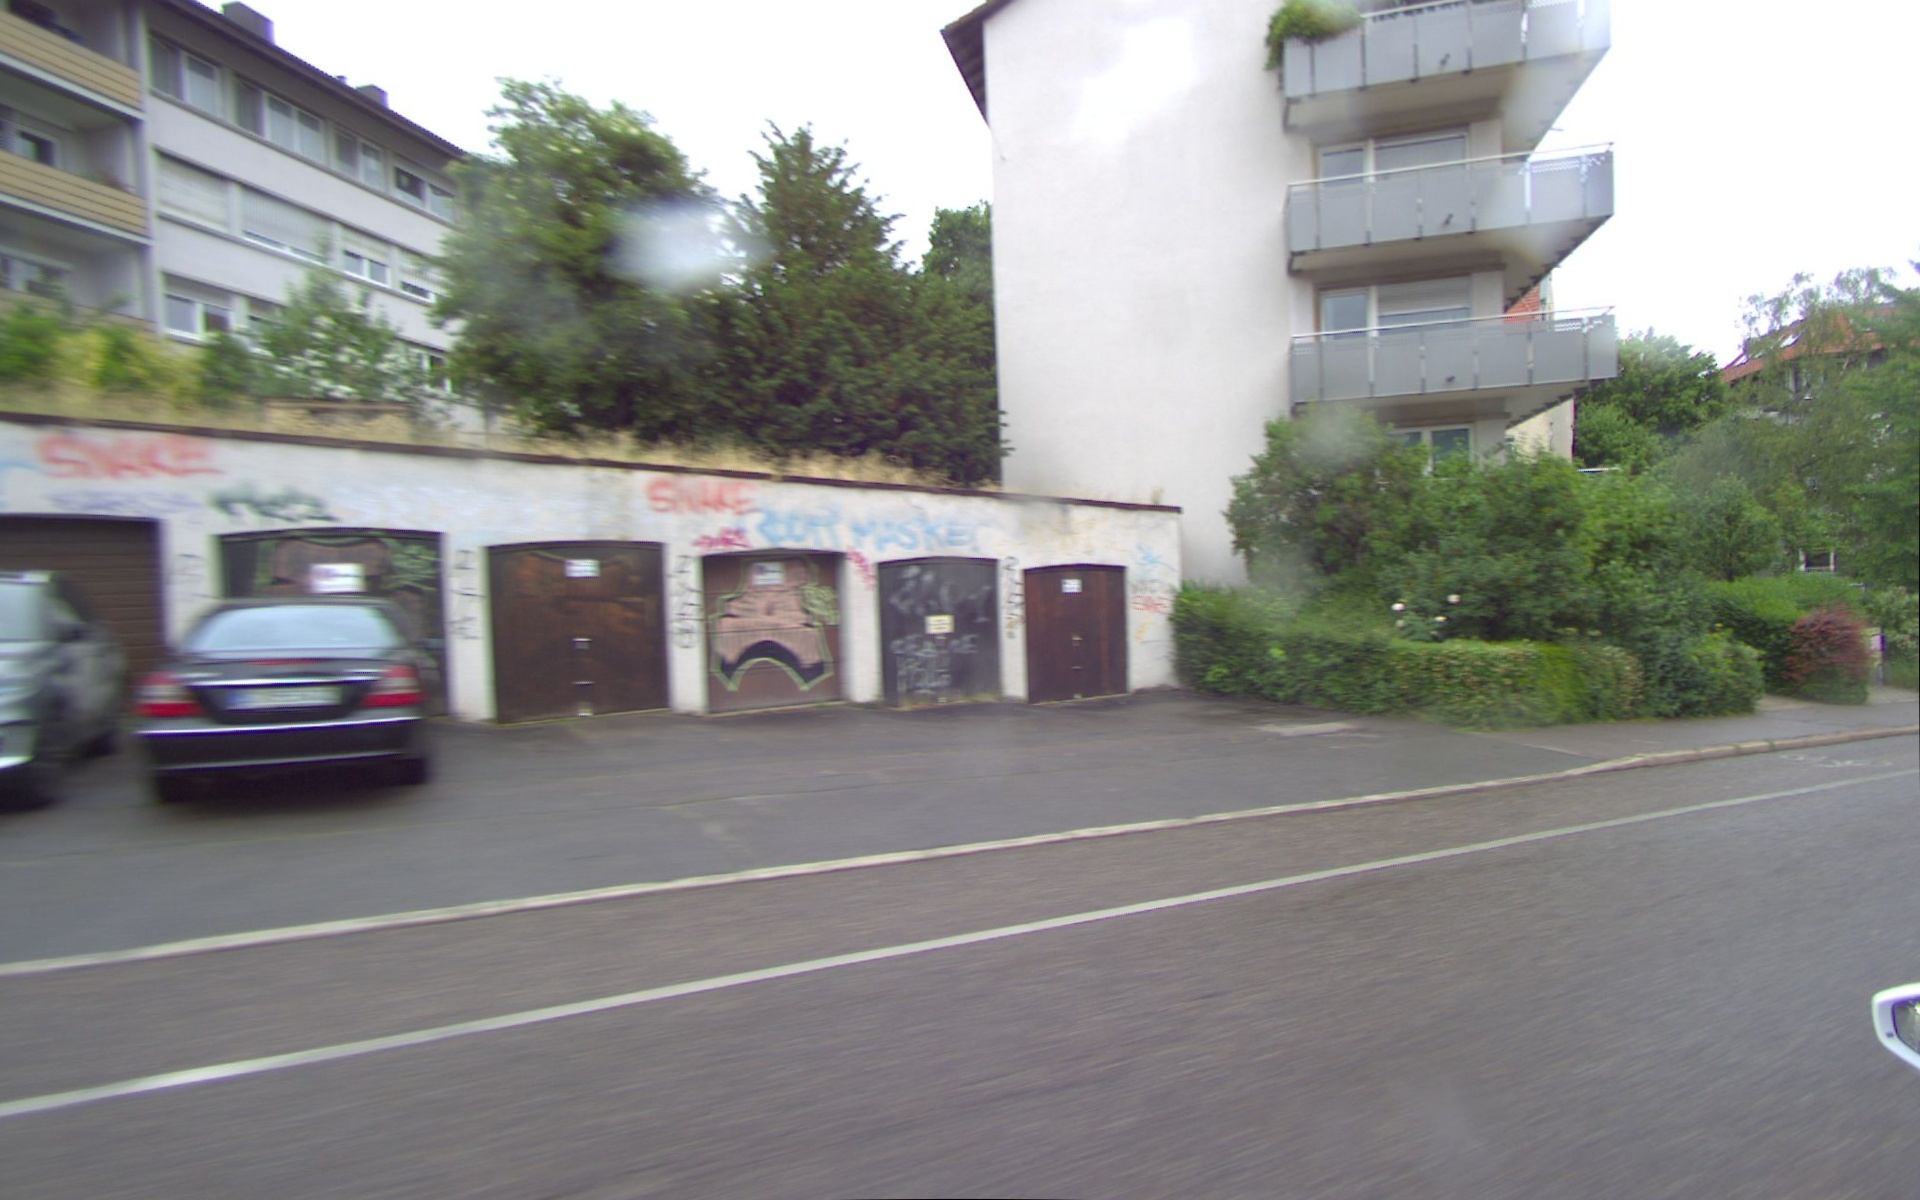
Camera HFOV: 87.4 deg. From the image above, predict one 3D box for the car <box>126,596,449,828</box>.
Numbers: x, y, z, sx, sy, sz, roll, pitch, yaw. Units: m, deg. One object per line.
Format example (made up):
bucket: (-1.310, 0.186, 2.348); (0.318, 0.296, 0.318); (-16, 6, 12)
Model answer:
car: (-5.244, 0.714, 8.267); (1.761, 1.426, 3.616); (2, 0, -28)

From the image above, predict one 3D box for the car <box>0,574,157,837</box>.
car: (-7.365, 0.599, 7.345); (1.860, 1.580, 3.964); (2, 0, -32)
